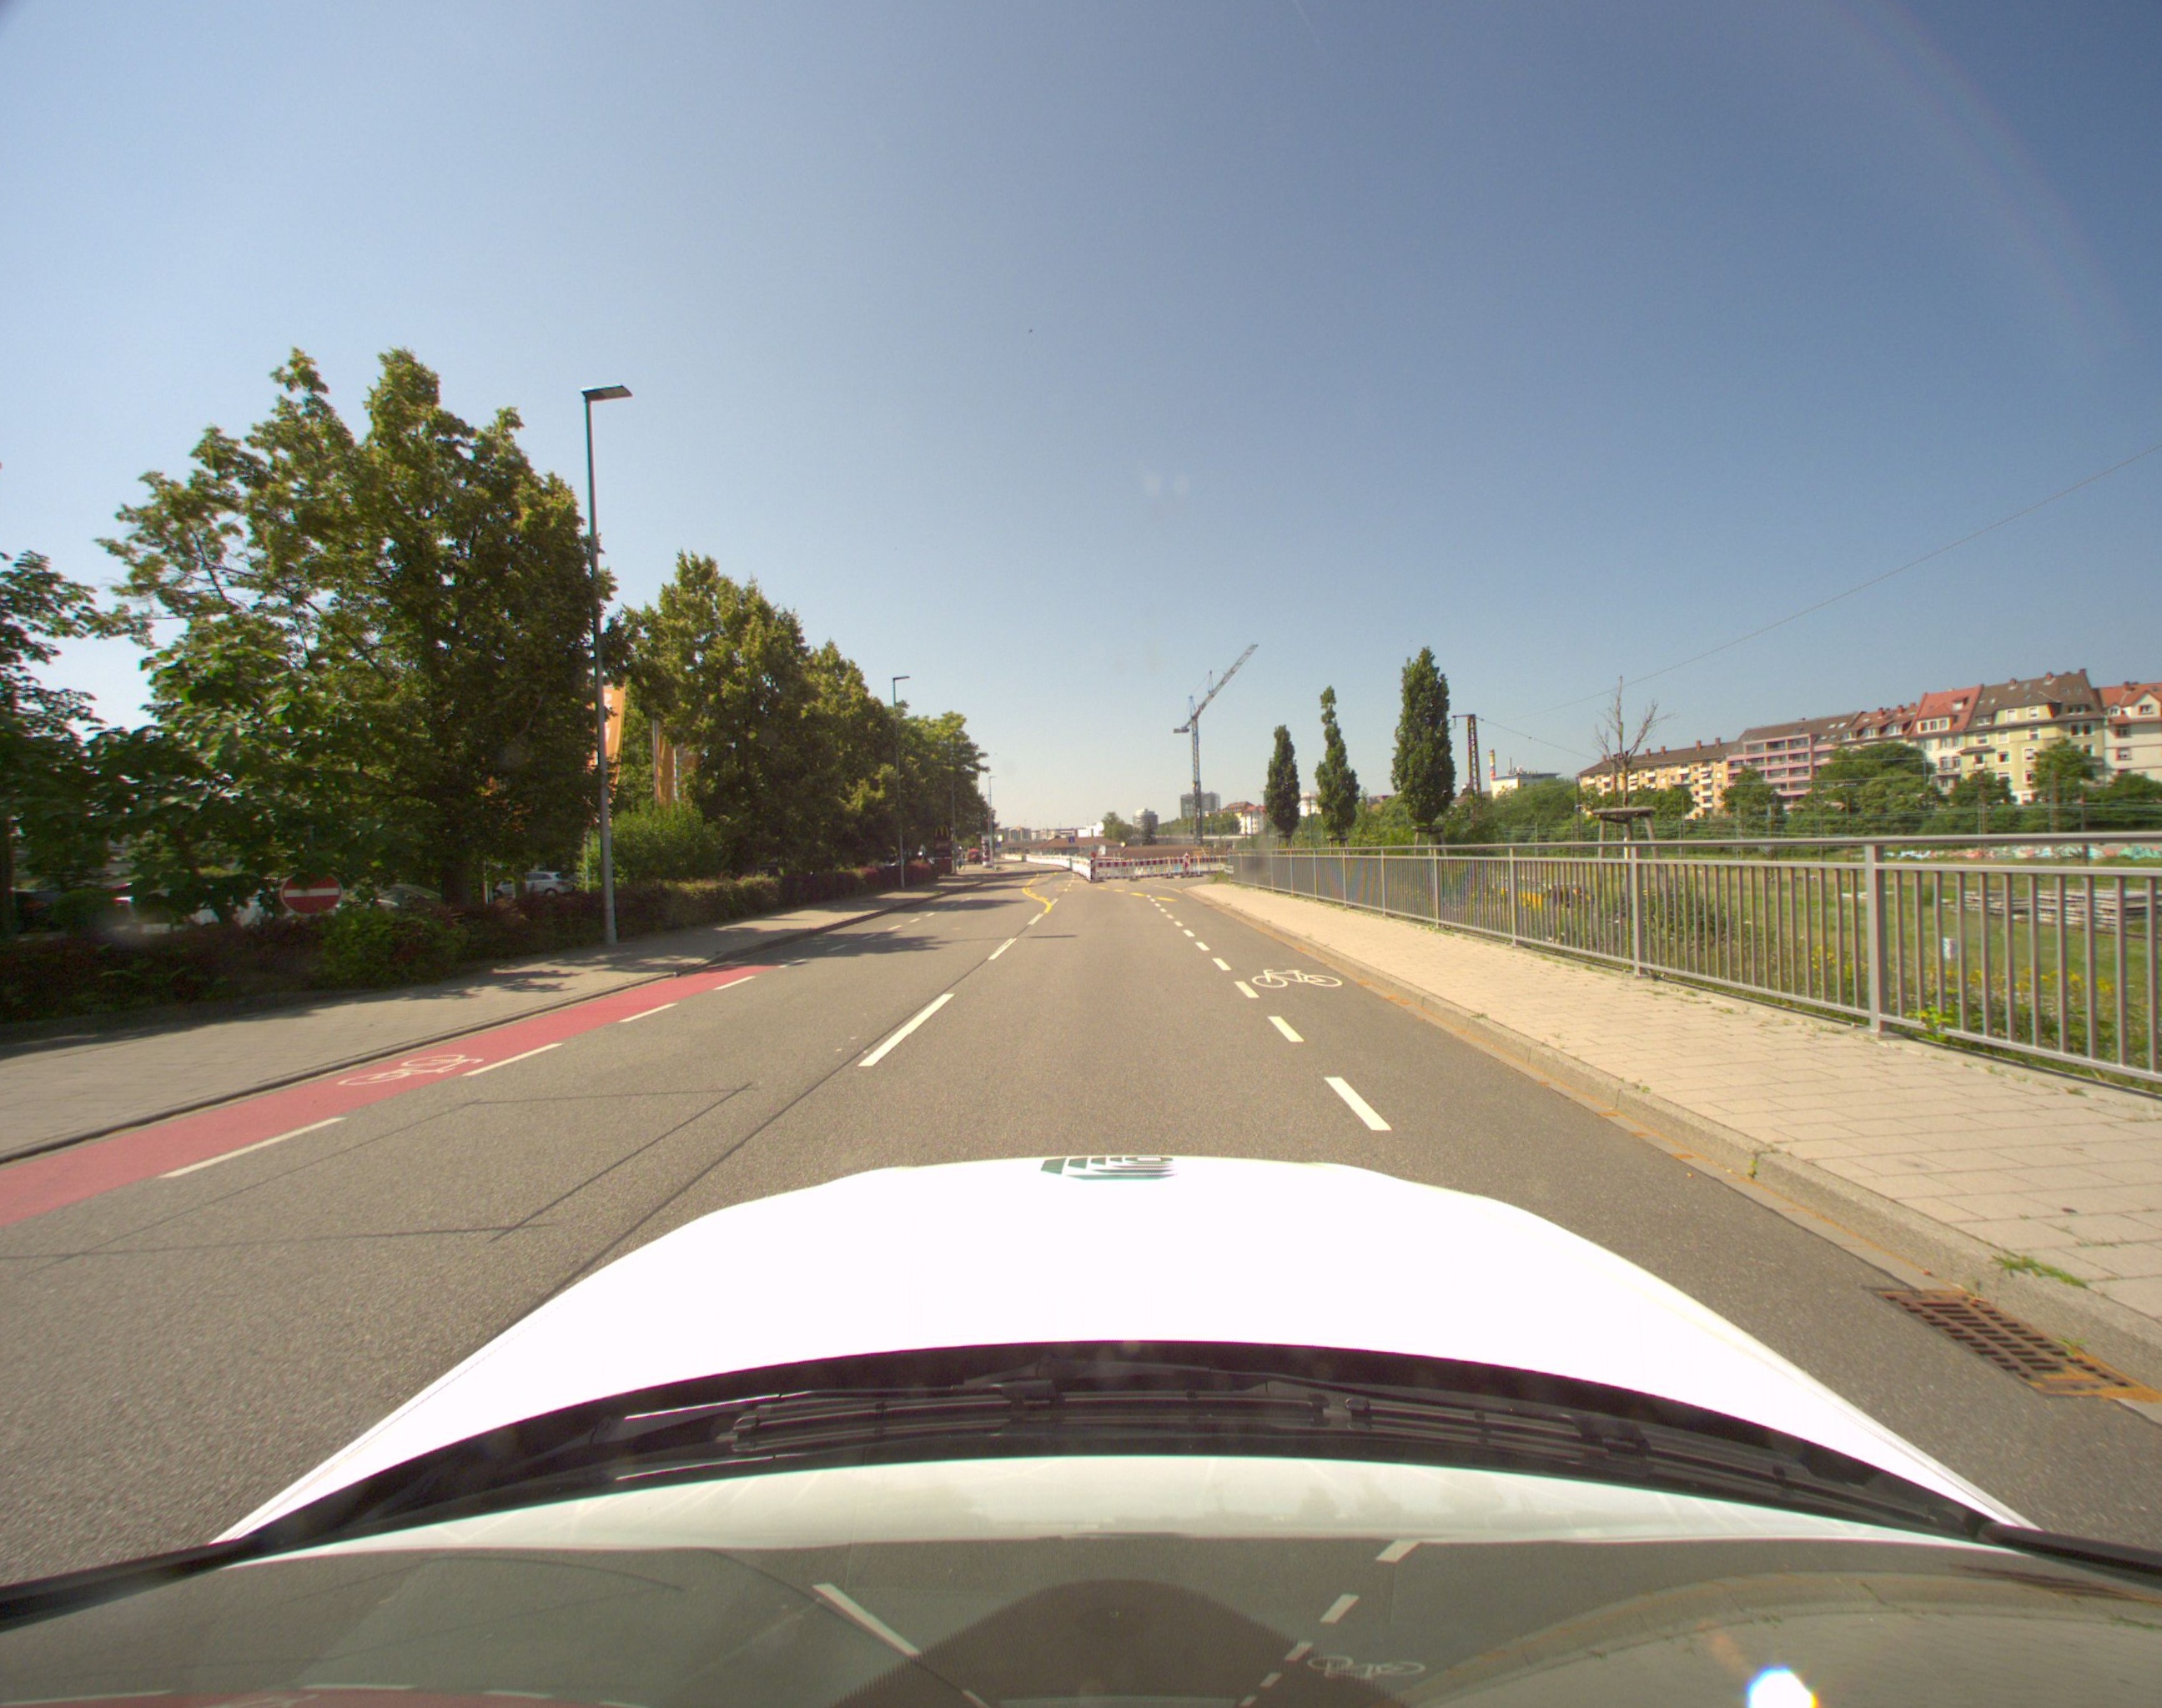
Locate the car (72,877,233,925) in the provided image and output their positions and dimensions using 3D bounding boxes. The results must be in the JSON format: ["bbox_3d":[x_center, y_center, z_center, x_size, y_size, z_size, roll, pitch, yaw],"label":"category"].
[{"bbox_3d":[-37.658,1.869,33.128,3.988,1.598,1.792,-3,0,-11],"label":"car"}]

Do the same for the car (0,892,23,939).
[{"bbox_3d":[-39.576,2.269,27.796,3.988,1.598,1.792,-3,0,-11],"label":"car"}]

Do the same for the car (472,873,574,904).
[{"bbox_3d":[-31.735,1.944,46.456,4.280,1.438,1.989,-3,0,-16],"label":"car"}]

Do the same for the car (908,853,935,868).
[{"bbox_3d":[-21.062,0.883,107.263,1.838,1.929,3.953,-2,0,-39],"label":"car"}]

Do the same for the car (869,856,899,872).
[{"bbox_3d":[-24.722,1.267,102.122,2.010,1.903,3.953,-2,0,-39],"label":"car"}]

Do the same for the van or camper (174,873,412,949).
[{"bbox_3d":[-21.928,1.531,22.888,4.280,1.740,1.989,-3,0,-16],"label":"van or camper"}]

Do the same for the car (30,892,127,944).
[{"bbox_3d":[-33.614,2.117,27.304,3.389,1.526,1.511,-2,0,30],"label":"car"}]
